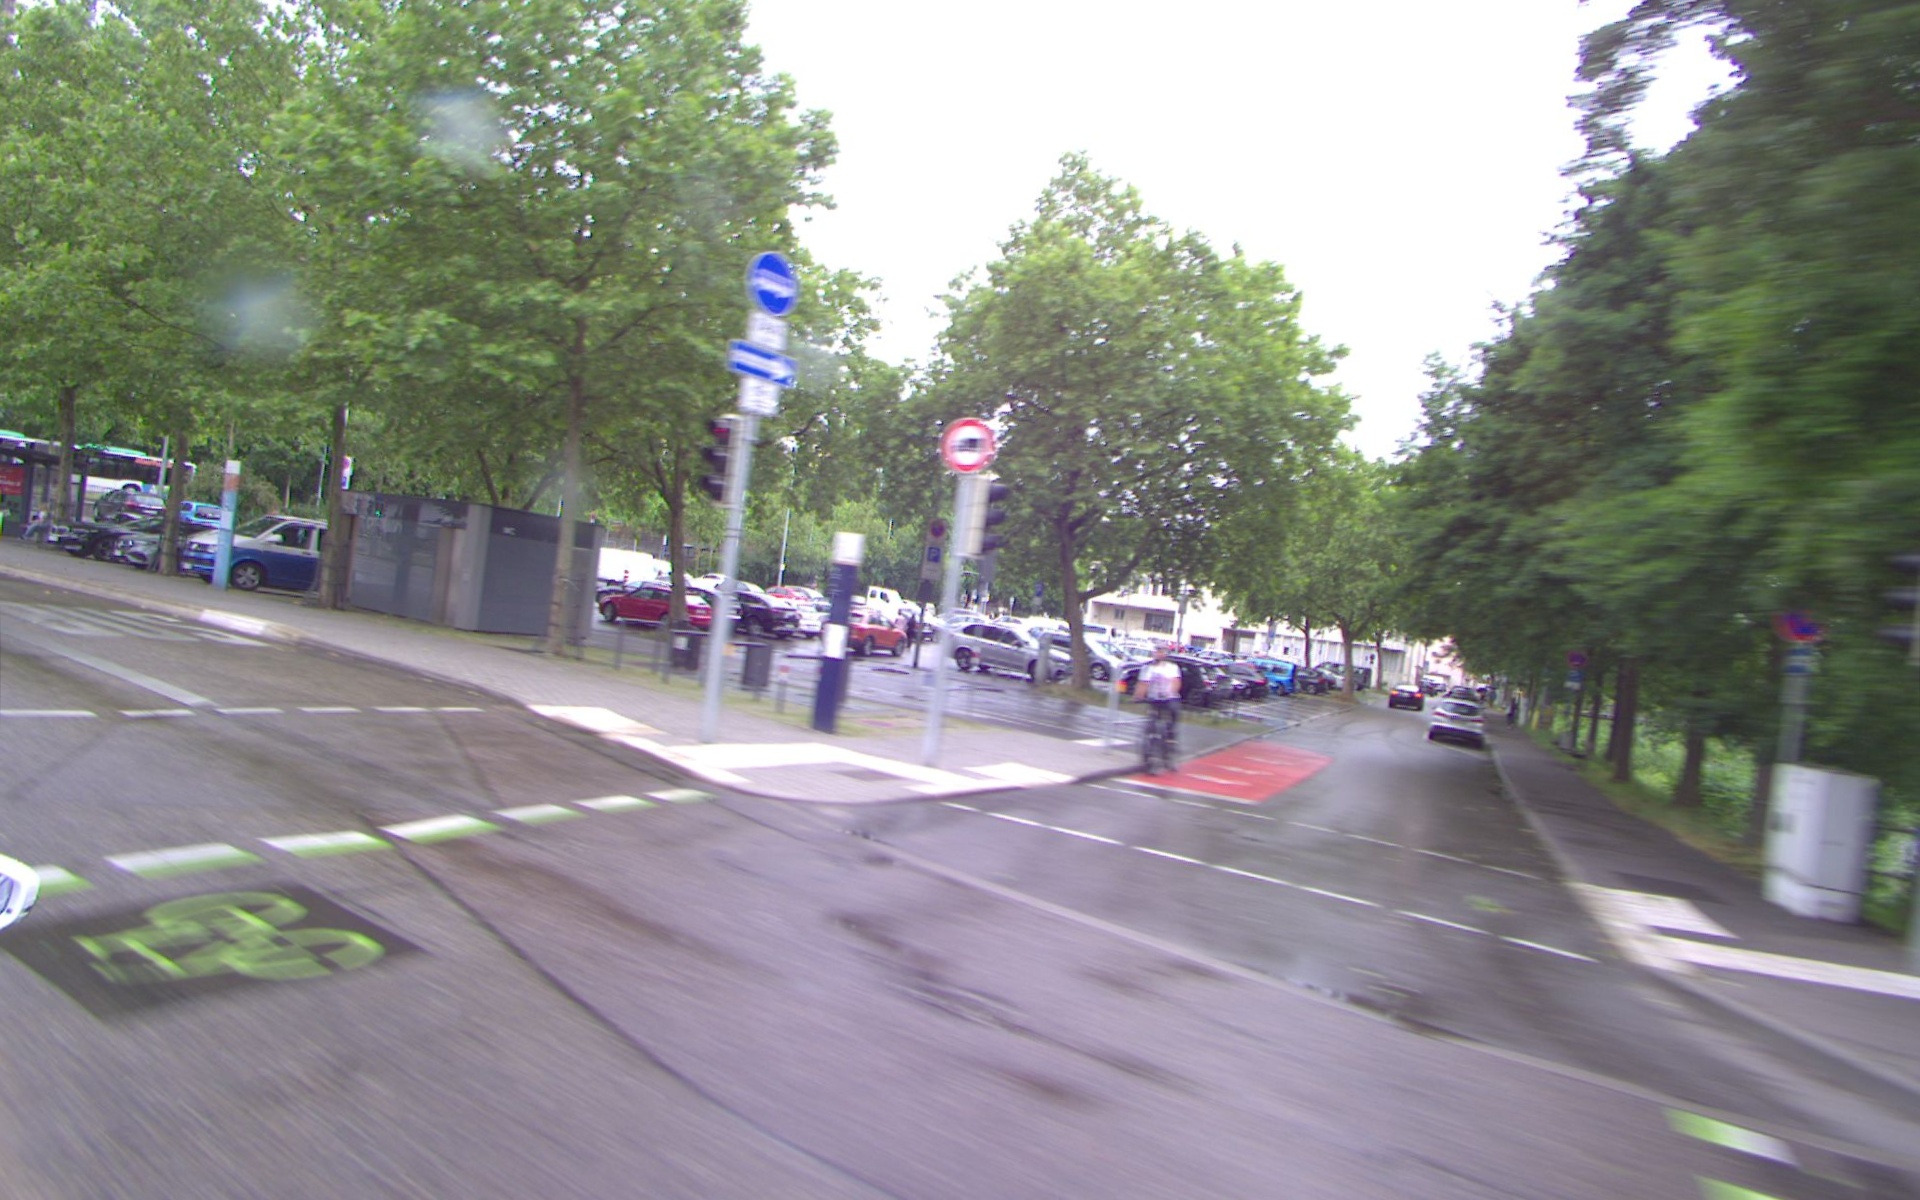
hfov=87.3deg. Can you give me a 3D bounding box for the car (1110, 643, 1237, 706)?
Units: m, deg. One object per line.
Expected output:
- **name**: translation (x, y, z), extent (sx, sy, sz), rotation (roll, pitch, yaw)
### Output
- **car**: translation (8.143, 2.828, 38.393), extent (4.267, 1.730, 1.806), rotation (8, -1, 25)

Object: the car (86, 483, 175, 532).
- **car**: translation (-40.982, -4.587, 49.712), extent (4.154, 1.847, 1.835), rotation (7, -1, 29)

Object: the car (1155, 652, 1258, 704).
- **car**: translation (10.522, 3.332, 42.980), extent (3.834, 1.606, 1.806), rotation (8, -1, 25)

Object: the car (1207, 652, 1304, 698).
- **car**: translation (15.839, 3.998, 53.916), extent (4.514, 1.777, 1.936), rotation (7, -1, 27)

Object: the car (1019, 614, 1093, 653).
- **car**: translation (6.750, 2.351, 70.787), extent (4.514, 2.037, 2.000), rotation (7, -1, 27)

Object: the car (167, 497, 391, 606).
- **car**: translation (-16.889, -1.156, 25.150), extent (1.937, 1.946, 3.997), rotation (8, -2, 31)

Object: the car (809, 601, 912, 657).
- **car**: translation (-3.548, 1.119, 36.713), extent (1.773, 1.640, 4.133), rotation (8, -1, 24)

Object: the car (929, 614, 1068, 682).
- **car**: translation (1.374, 1.722, 36.425), extent (4.504, 1.785, 1.806), rotation (8, -1, 25)

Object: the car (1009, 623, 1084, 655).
- **car**: translation (5.864, 2.662, 68.221), extent (4.510, 1.453, 2.001), rotation (8, -2, 22)

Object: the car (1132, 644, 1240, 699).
- **car**: translation (9.173, 2.884, 40.826), extent (3.834, 1.606, 1.806), rotation (8, -1, 25)

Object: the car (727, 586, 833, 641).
- **car**: translation (-7.472, 0.557, 41.677), extent (3.933, 1.670, 1.823), rotation (7, -2, 31)

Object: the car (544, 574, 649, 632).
- **car**: translation (-14.953, 0.112, 41.378), extent (3.935, 1.924, 1.832), rotation (5, -4, 32)

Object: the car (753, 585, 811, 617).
- **car**: translation (-11.573, 0.070, 65.244), extent (3.354, 1.533, 1.657), rotation (7, -1, 35)

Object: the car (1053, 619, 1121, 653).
- **car**: translation (9.461, 2.669, 75.043), extent (4.510, 1.869, 2.001), rotation (8, -1, 22)

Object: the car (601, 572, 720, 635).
- **car**: translation (-10.299, 0.128, 34.636), extent (3.571, 1.671, 1.599), rotation (8, 1, 22)

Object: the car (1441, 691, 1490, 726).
- **car**: translation (27.703, 5.957, 55.086), extent (1.967, 1.564, 3.995), rotation (7, -2, 32)

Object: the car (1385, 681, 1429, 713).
- **car**: translation (26.694, 5.816, 60.034), extent (1.728, 1.564, 3.995), rotation (7, -2, 32)

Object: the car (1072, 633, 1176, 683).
- **car**: translation (8.062, 2.844, 49.593), extent (4.514, 1.777, 1.936), rotation (7, -1, 27)

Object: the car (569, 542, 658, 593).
- **car**: translation (-18.210, -1.717, 52.911), extent (3.992, 2.037, 1.999), rotation (7, -1, 26)

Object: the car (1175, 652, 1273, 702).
- **car**: translation (11.843, 3.435, 45.061), extent (3.834, 1.606, 1.806), rotation (8, -1, 25)

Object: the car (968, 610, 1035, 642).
- **car**: translation (3.134, 1.936, 75.478), extent (4.510, 1.673, 1.886), rotation (8, -1, 22)

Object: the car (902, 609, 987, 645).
- **car**: translation (-0.911, 1.589, 59.677), extent (4.510, 1.453, 2.001), rotation (8, -2, 22)

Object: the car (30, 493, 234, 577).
- **car**: translation (-23.366, -1.802, 28.556), extent (1.714, 1.525, 3.999), rotation (8, -4, 31)

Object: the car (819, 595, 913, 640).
- **car**: translation (-4.614, 0.842, 49.230), extent (4.128, 1.568, 1.811), rotation (7, -1, 27)

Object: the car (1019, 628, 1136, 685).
- **car**: translation (5.086, 2.457, 43.643), extent (4.514, 1.777, 1.936), rotation (7, -1, 27)

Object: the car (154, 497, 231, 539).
- **car**: translation (-39.533, -4.236, 51.812), extent (3.587, 1.636, 1.685), rotation (7, -1, 29)

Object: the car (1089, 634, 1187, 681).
- **car**: translation (9.288, 3.015, 52.583), extent (4.514, 1.777, 1.936), rotation (7, -1, 27)

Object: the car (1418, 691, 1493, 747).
- **car**: translation (17.451, 4.181, 35.321), extent (1.859, 1.564, 3.995), rotation (7, -2, 32)

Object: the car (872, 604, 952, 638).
- **car**: translation (-3.031, 1.300, 63.355), extent (4.510, 1.453, 2.001), rotation (8, -2, 22)

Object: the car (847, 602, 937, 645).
- **car**: translation (-3.478, 1.196, 51.311), extent (4.128, 1.568, 1.811), rotation (7, -1, 27)

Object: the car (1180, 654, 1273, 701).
- **car**: translation (12.483, 3.625, 47.134), extent (3.834, 1.606, 1.806), rotation (8, -1, 25)

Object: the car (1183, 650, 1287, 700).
- **car**: translation (13.623, 3.697, 49.919), extent (4.514, 1.777, 1.936), rotation (7, -1, 27)

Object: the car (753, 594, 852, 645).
- **car**: translation (-7.006, 0.849, 44.799), extent (3.933, 1.670, 1.823), rotation (7, -2, 31)

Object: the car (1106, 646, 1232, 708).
- **car**: translation (7.506, 2.743, 36.123), extent (3.944, 1.609, 1.806), rotation (8, -1, 25)

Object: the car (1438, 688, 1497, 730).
- **car**: translation (23.585, 5.090, 46.700), extent (1.967, 1.564, 3.995), rotation (7, -2, 32)

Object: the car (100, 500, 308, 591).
- **car**: translation (-20.576, -1.436, 27.554), extent (1.885, 1.667, 3.999), rotation (8, -3, 31)
